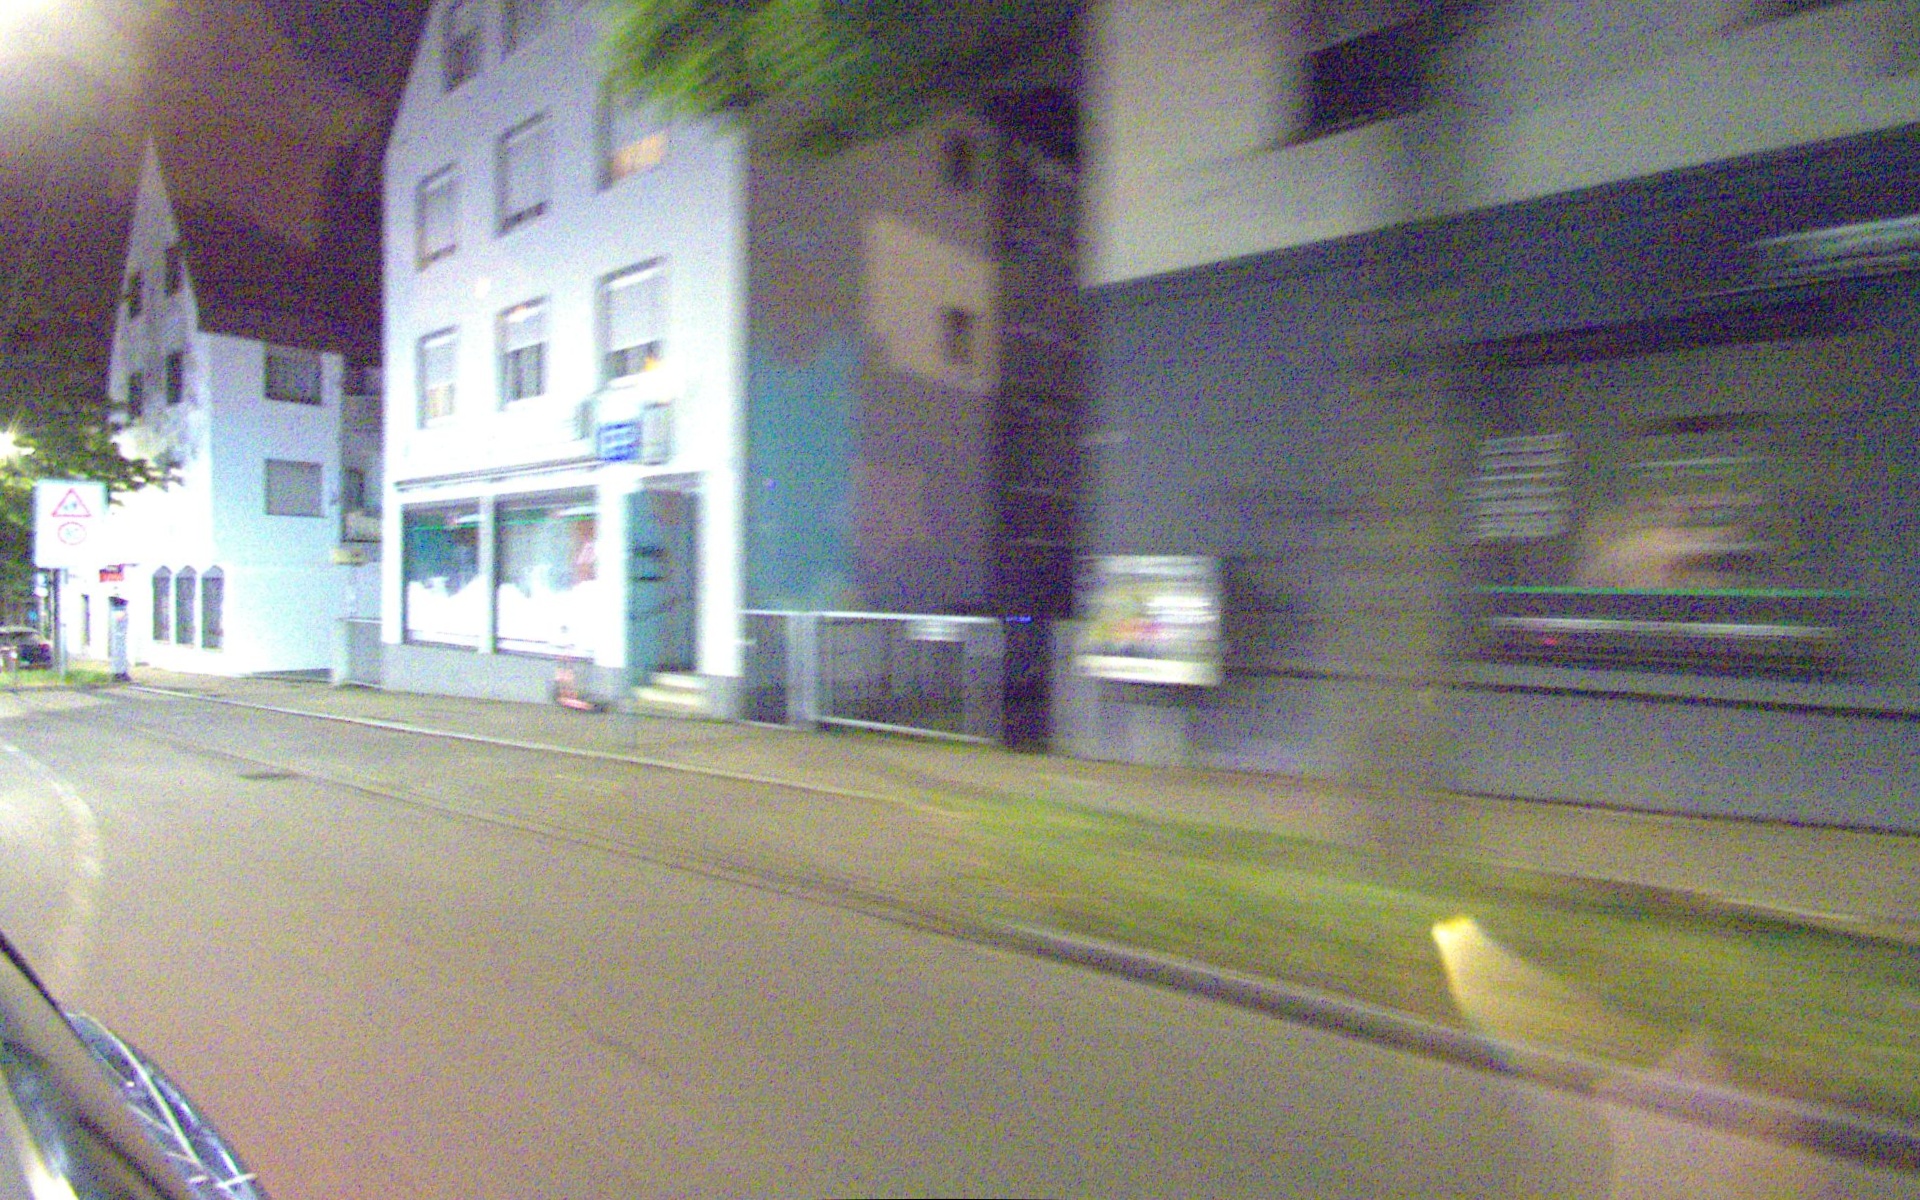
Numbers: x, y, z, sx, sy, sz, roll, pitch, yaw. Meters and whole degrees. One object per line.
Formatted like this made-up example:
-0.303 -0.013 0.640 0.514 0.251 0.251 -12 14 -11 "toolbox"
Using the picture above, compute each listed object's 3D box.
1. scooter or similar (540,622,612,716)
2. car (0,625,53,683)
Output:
-5.372 0.939 14.130 1.334 1.235 0.328 -1 1 41 "scooter or similar"
-26.940 1.482 28.227 4.286 1.497 1.710 -1 1 38 "car"
